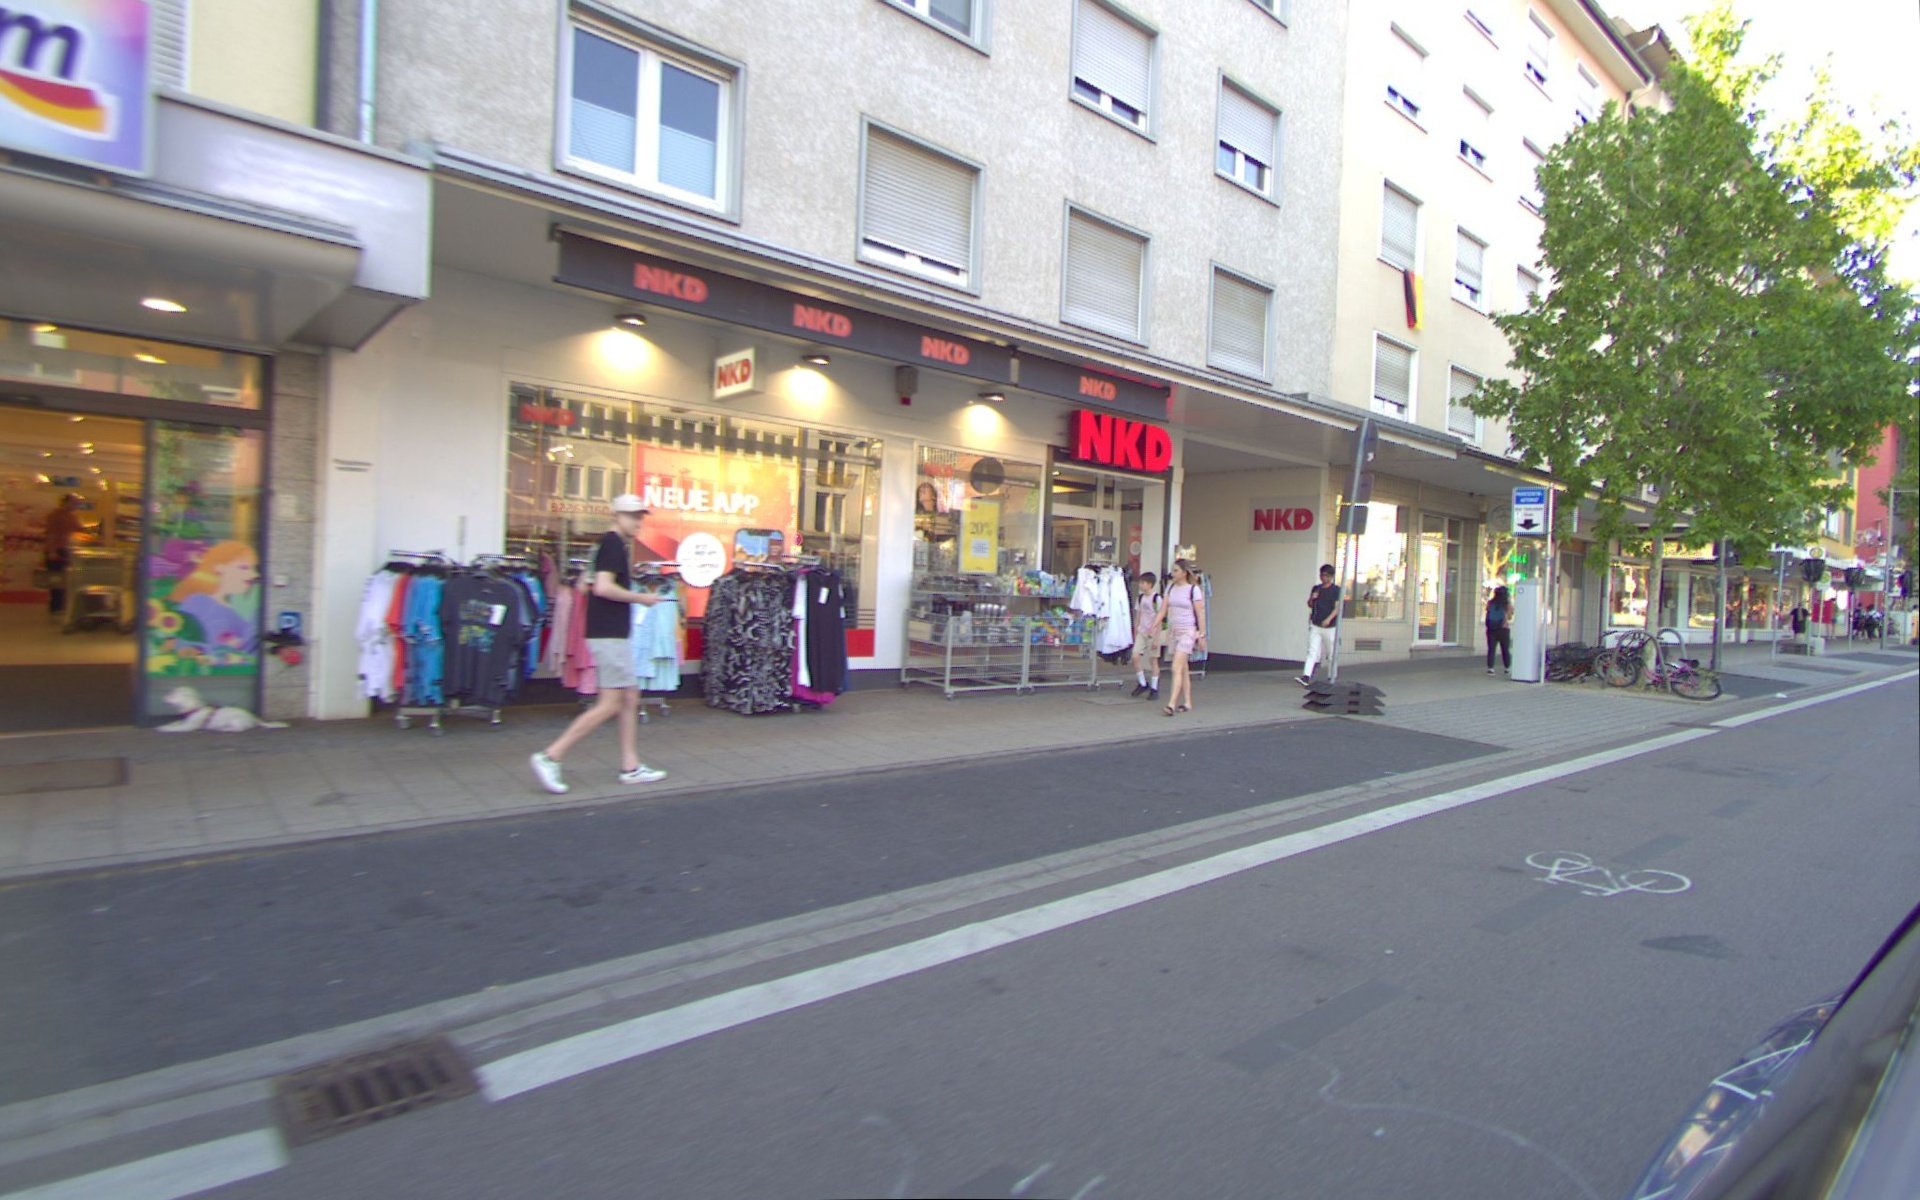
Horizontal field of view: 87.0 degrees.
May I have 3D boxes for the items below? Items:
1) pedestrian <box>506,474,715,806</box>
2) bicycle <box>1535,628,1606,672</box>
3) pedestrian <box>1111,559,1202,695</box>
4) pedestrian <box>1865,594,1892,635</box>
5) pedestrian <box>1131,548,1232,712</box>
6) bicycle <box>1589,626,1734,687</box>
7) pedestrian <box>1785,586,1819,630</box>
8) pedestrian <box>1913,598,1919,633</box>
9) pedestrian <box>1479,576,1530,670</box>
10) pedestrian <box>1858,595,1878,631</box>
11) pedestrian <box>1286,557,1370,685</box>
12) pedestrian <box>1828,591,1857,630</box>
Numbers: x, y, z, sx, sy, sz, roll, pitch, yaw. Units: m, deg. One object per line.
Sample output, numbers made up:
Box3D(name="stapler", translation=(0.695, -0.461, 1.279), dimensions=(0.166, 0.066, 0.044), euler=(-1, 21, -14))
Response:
Box3D(name="pedestrian", translation=(-2.116, 0.197, 6.112), dimensions=(0.914, 1.821, 0.775), euler=(1, 4, -40))
Box3D(name="bicycle", translation=(10.095, 0.813, 16.785), dimensions=(0.831, 0.579, 1.745), euler=(3, 2, 26))
Box3D(name="pedestrian", translation=(2.299, 0.302, 11.853), dimensions=(0.880, 1.520, 0.542), euler=(2, 2, -41))
Box3D(name="pedestrian", translation=(39.192, 0.619, 43.177), dimensions=(0.647, 1.695, 0.693), euler=(1, 3, -41))
Box3D(name="pedestrian", translation=(2.365, 0.302, 10.784), dimensions=(0.880, 1.649, 0.547), euler=(2, 2, -41))
Box3D(name="bicycle", translation=(10.901, 0.856, 15.804), dimensions=(1.744, 0.788, 0.696), euler=(3, 1, 27))
Box3D(name="pedestrian", translation=(32.558, 0.311, 39.130), dimensions=(0.900, 1.675, 0.851), euler=(0, 0, -41))
Box3D(name="pedestrian", translation=(45.994, 0.737, 48.334), dimensions=(0.640, 1.675, 0.634), euler=(0, 0, -41))
Box3D(name="pedestrian", translation=(9.445, 0.389, 17.552), dimensions=(0.637, 1.586, 0.490), euler=(1, 3, -40))
Box3D(name="pedestrian", translation=(43.307, 0.618, 48.291), dimensions=(0.640, 1.675, 0.634), euler=(0, 0, -41))
Box3D(name="pedestrian", translation=(5.140, 0.275, 14.128), dimensions=(1.051, 1.695, 0.569), euler=(1, 3, -41))
Box3D(name="pedestrian", translation=(38.571, 0.457, 44.247), dimensions=(0.900, 1.675, 0.851), euler=(0, 0, -41))
